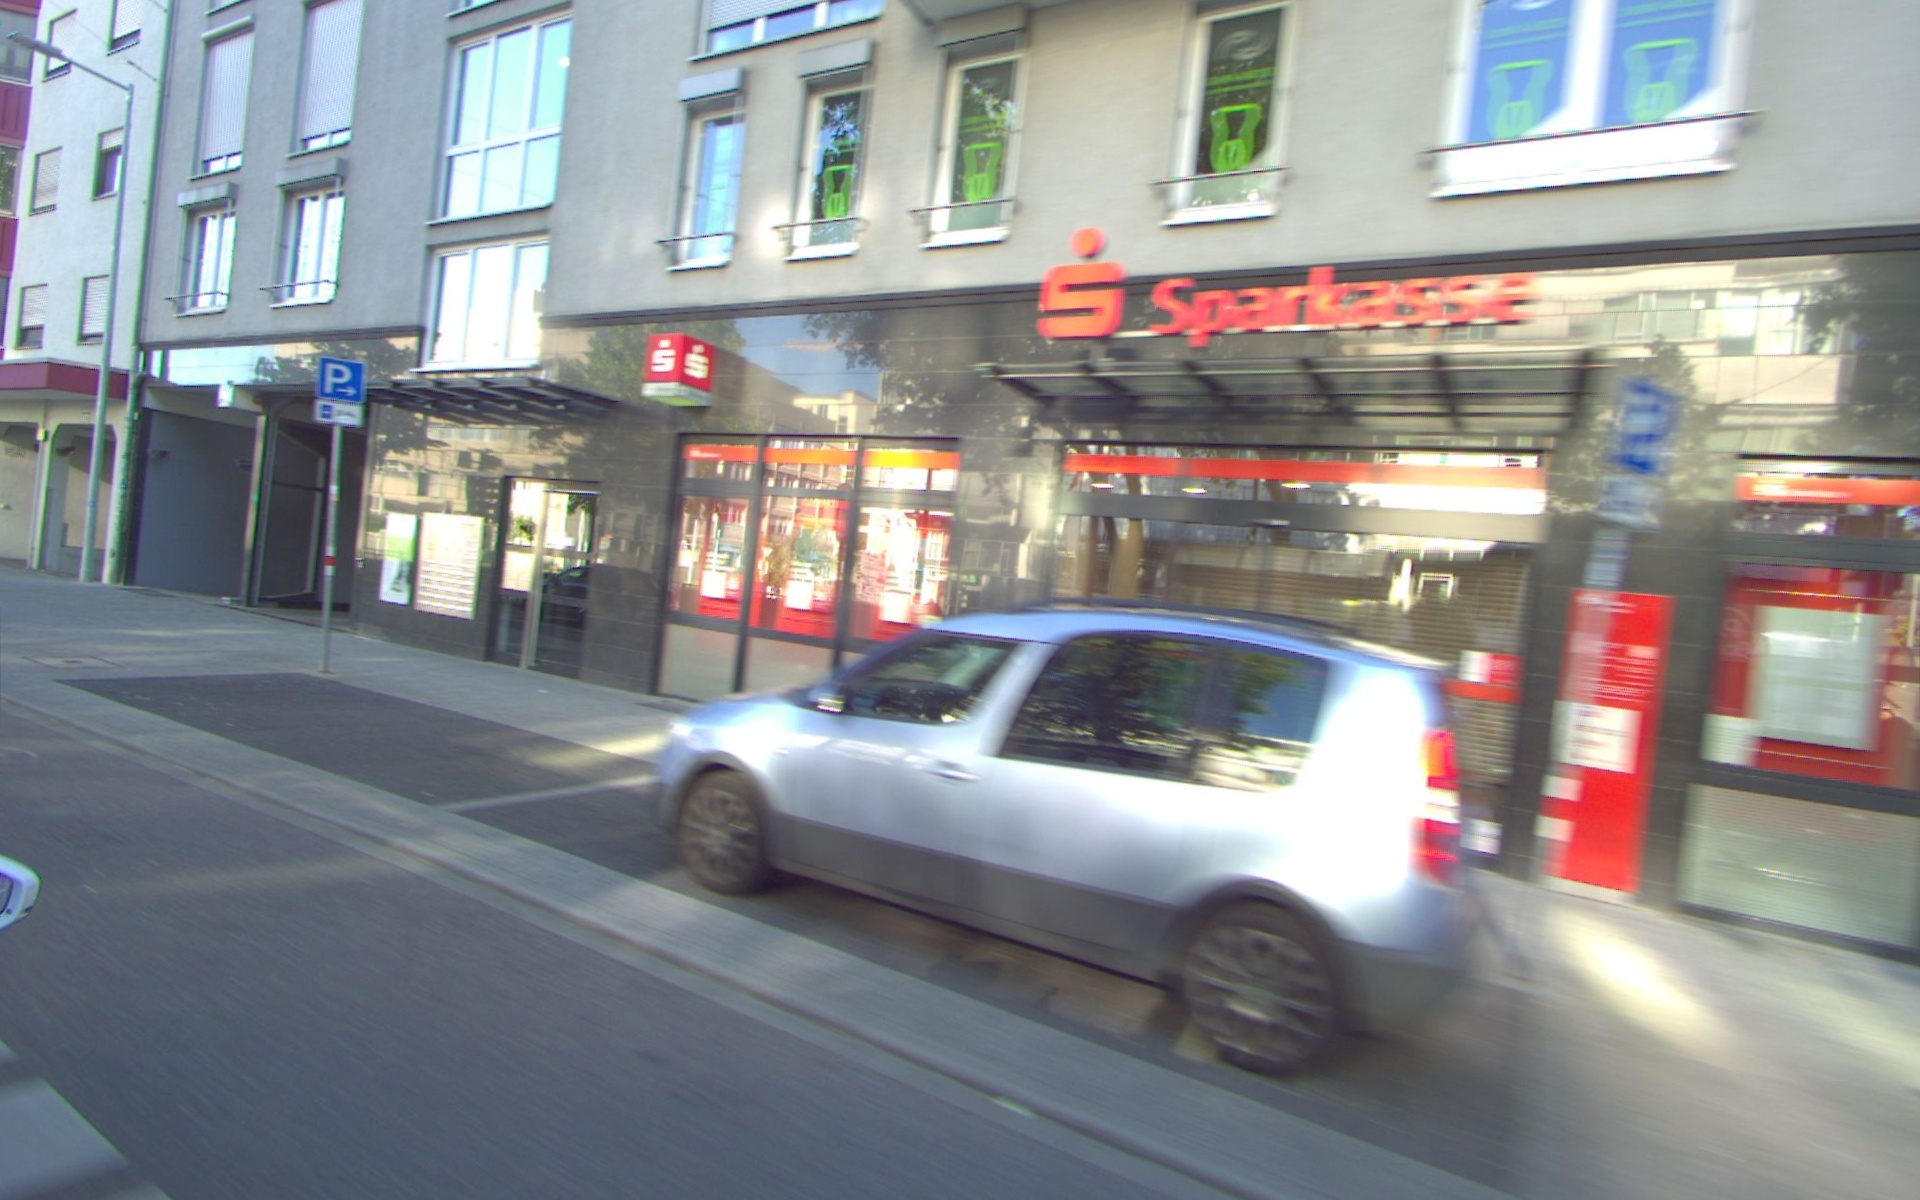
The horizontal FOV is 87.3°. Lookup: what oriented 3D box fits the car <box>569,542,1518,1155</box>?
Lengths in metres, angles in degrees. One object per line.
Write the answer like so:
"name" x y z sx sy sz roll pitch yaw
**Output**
"car" 0.245 0.738 4.991 4.213 1.645 1.833 6 3 31
